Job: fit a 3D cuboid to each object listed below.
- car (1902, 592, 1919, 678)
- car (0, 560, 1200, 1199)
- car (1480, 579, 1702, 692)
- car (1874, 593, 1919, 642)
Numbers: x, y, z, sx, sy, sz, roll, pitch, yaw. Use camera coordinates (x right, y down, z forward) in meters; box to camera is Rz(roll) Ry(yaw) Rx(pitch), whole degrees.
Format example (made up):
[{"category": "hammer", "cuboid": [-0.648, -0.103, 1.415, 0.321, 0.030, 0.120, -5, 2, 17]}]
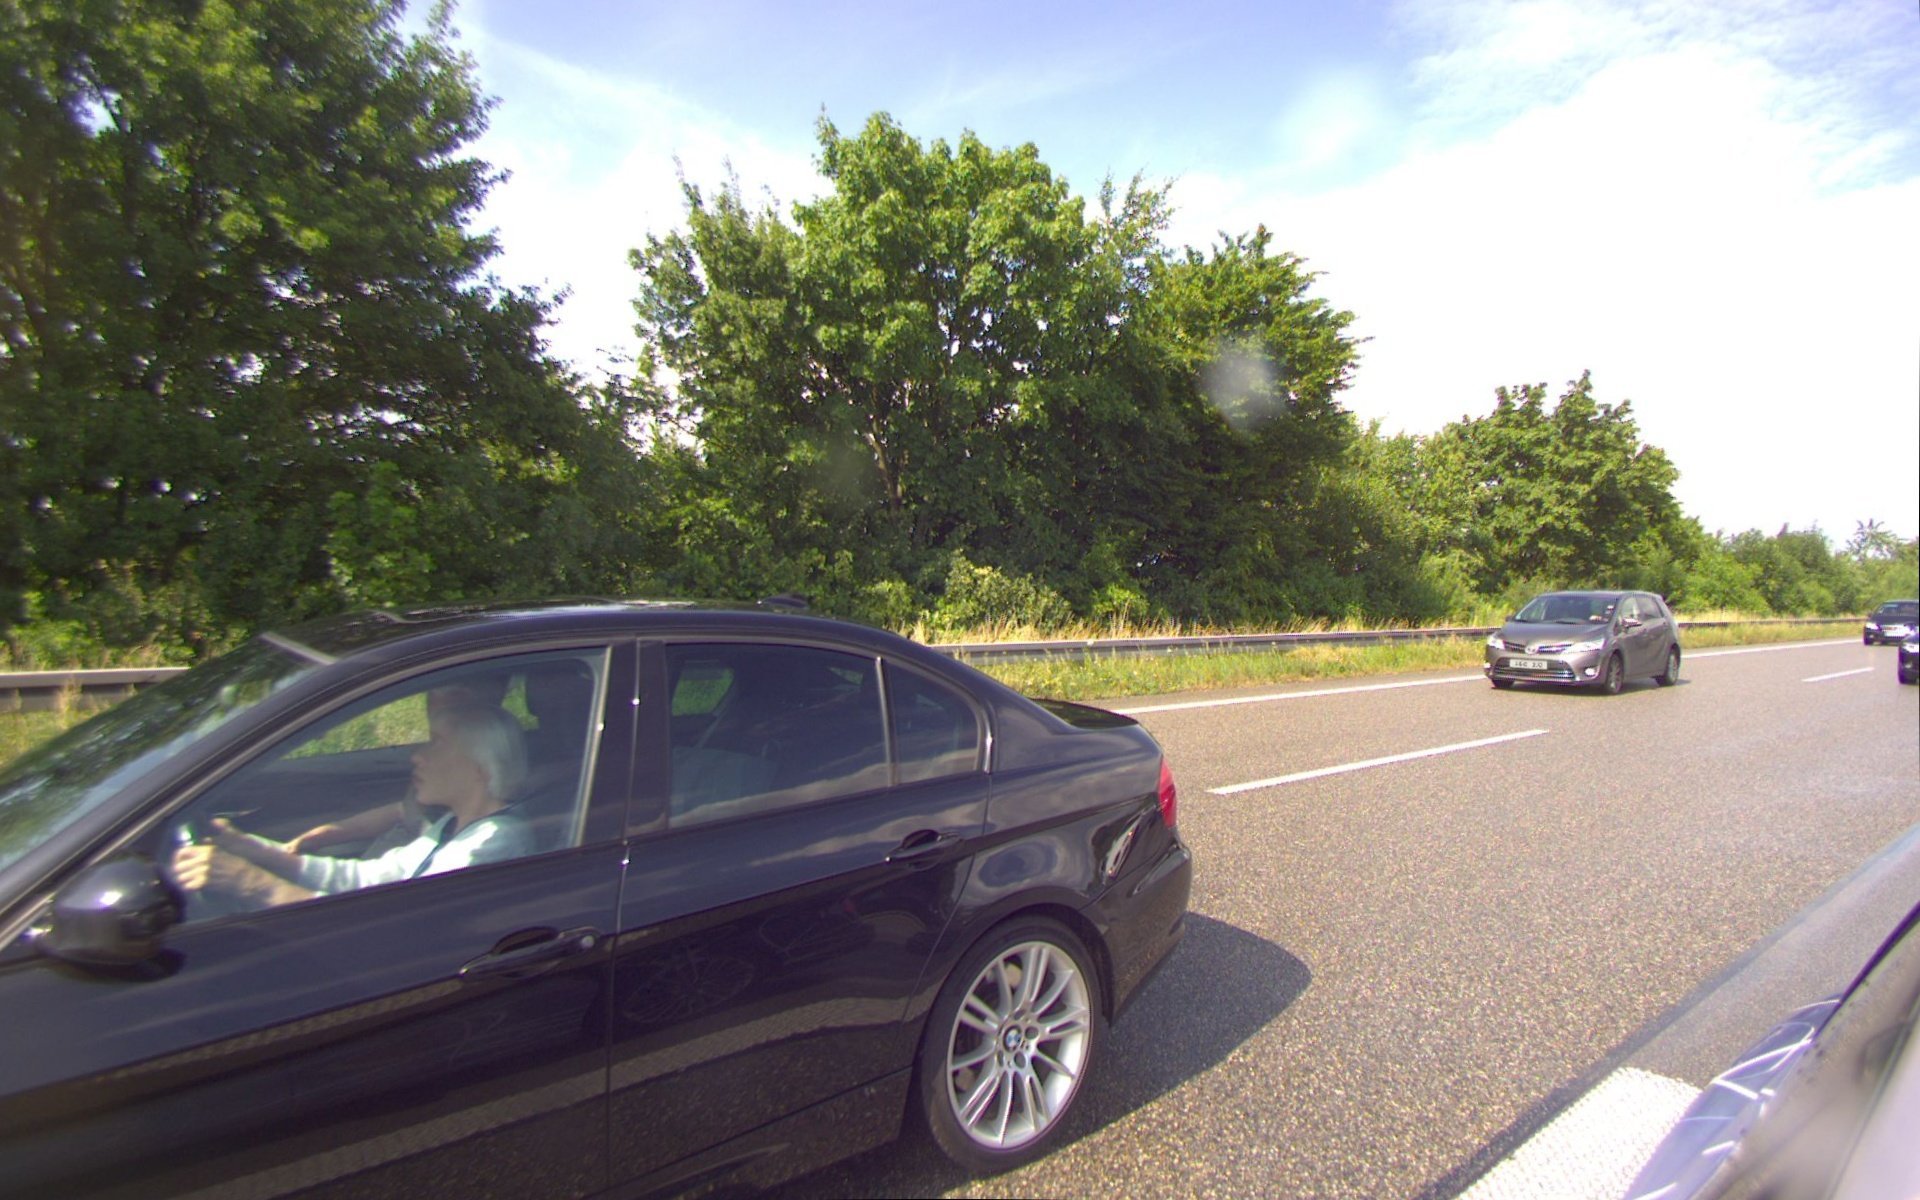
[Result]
[{"category": "car", "cuboid": [18.726, 0.614, 18.370, 4.180, 1.482, 1.853, 0, 2, -40]}, {"category": "car", "cuboid": [-1.311, 0.649, 2.392, 3.767, 1.438, 1.744, 0, 1, -40]}, {"category": "car", "cuboid": [10.445, 0.495, 16.637, 4.306, 1.633, 1.792, 0, 1, -39]}, {"category": "car", "cuboid": [32.908, 0.576, 34.617, 3.929, 1.588, 1.853, 0, 2, -40]}]
